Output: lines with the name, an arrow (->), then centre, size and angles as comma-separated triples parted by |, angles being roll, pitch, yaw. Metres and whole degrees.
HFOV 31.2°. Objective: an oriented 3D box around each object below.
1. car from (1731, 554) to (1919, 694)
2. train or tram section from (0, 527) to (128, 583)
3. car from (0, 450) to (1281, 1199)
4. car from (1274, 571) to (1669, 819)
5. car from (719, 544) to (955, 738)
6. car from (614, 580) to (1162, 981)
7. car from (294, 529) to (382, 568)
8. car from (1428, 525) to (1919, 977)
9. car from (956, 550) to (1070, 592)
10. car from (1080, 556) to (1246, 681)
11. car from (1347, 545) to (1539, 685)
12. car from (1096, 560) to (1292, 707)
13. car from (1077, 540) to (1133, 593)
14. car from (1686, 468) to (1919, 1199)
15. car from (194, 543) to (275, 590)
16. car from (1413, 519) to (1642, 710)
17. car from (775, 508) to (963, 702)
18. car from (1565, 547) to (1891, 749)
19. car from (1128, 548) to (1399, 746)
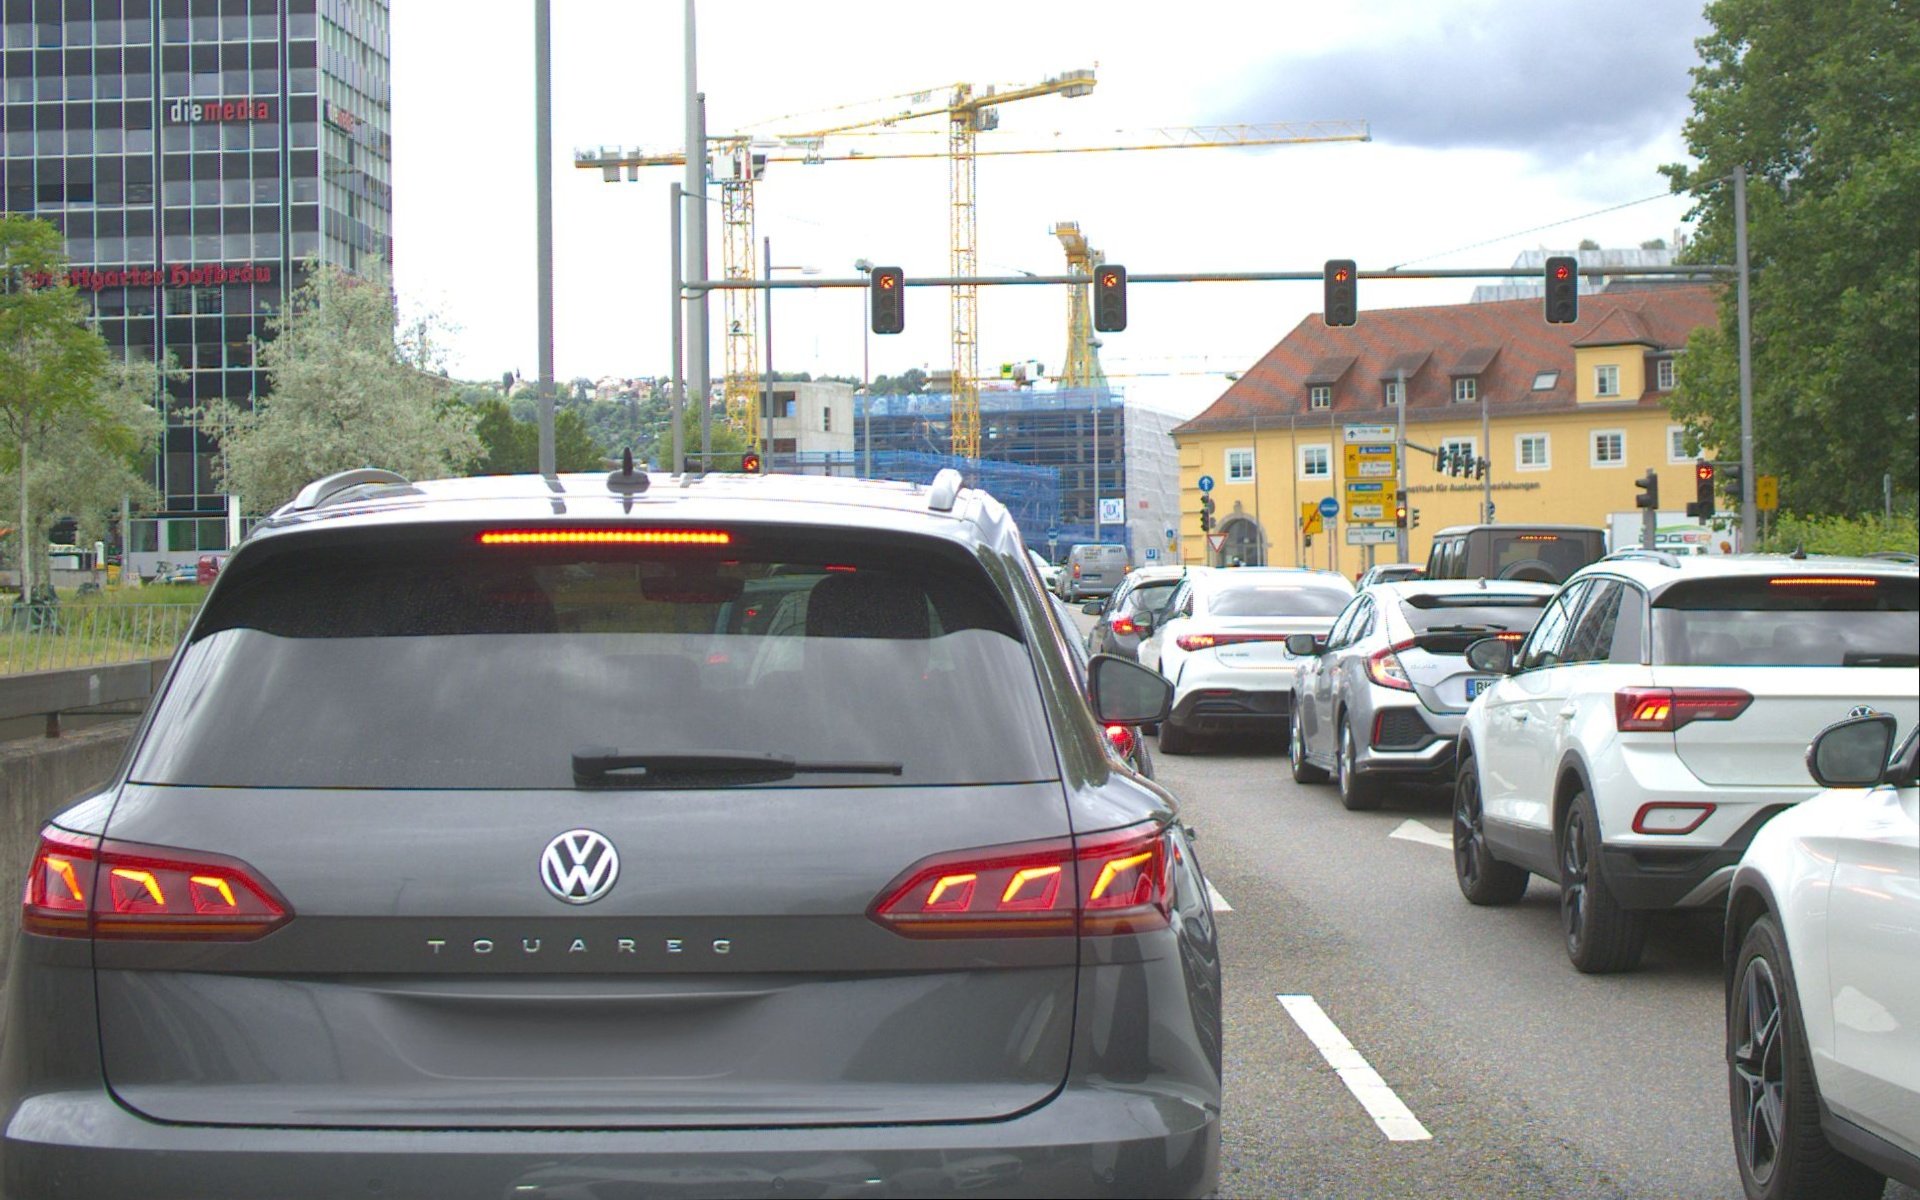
car -> 9.972, 0.278, 38.626 | 1.932, 1.455, 4.526 | 1, 0, 5
train or tram section -> -51.491, -2.557, 194.680 | 8.935, 2.999, 2.592 | 1, -1, 28
car -> -0.570, 0.599, 6.668 | 1.951, 1.646, 4.000 | 0, 1, -1
car -> 3.175, 0.549, 22.206 | 1.926, 1.427, 4.489 | 0, 0, 1
car -> -1.069, 0.324, 31.033 | 1.951, 1.594, 3.931 | 1, 1, -1
car -> -0.288, 0.643, 14.406 | 1.951, 1.379, 3.931 | 1, 1, -1
car -> -33.350, -2.771, 184.334 | 4.454, 2.007, 1.996 | 1, -1, 34
car -> 3.161, 0.517, 14.063 | 1.926, 1.545, 4.489 | 0, 0, 1
car -> 2.062, -1.145, 135.073 | 4.222, 1.598, 1.749 | 1, 0, 36
car -> 2.554, 0.223, 44.039 | 1.926, 1.524, 4.047 | 0, 0, 1
car -> 6.227, 0.183, 44.699 | 1.910, 1.691, 4.012 | 1, 0, 0
car -> 2.511, 0.344, 37.751 | 1.926, 1.524, 4.047 | 0, 0, 1
car -> 4.680, -1.073, 111.454 | 1.619, 1.622, 4.000 | 1, -1, 0
car -> 2.712, 0.581, 6.144 | 1.926, 1.648, 4.490 | 0, 1, 1
car -> -32.880, -1.518, 155.710 | 1.994, 2.006, 4.692 | -2, 2, -33
car -> 6.392, 0.151, 39.119 | 1.910, 2.007, 4.012 | 1, 0, 0
car -> -0.999, 0.030, 38.566 | 1.951, 2.011, 3.931 | 1, 1, -1
car -> 6.654, 0.364, 30.250 | 1.993, 1.634, 4.304 | 0, 1, 1
car -> 2.466, 0.358, 28.930 | 1.926, 1.524, 4.489 | 0, 0, 1
